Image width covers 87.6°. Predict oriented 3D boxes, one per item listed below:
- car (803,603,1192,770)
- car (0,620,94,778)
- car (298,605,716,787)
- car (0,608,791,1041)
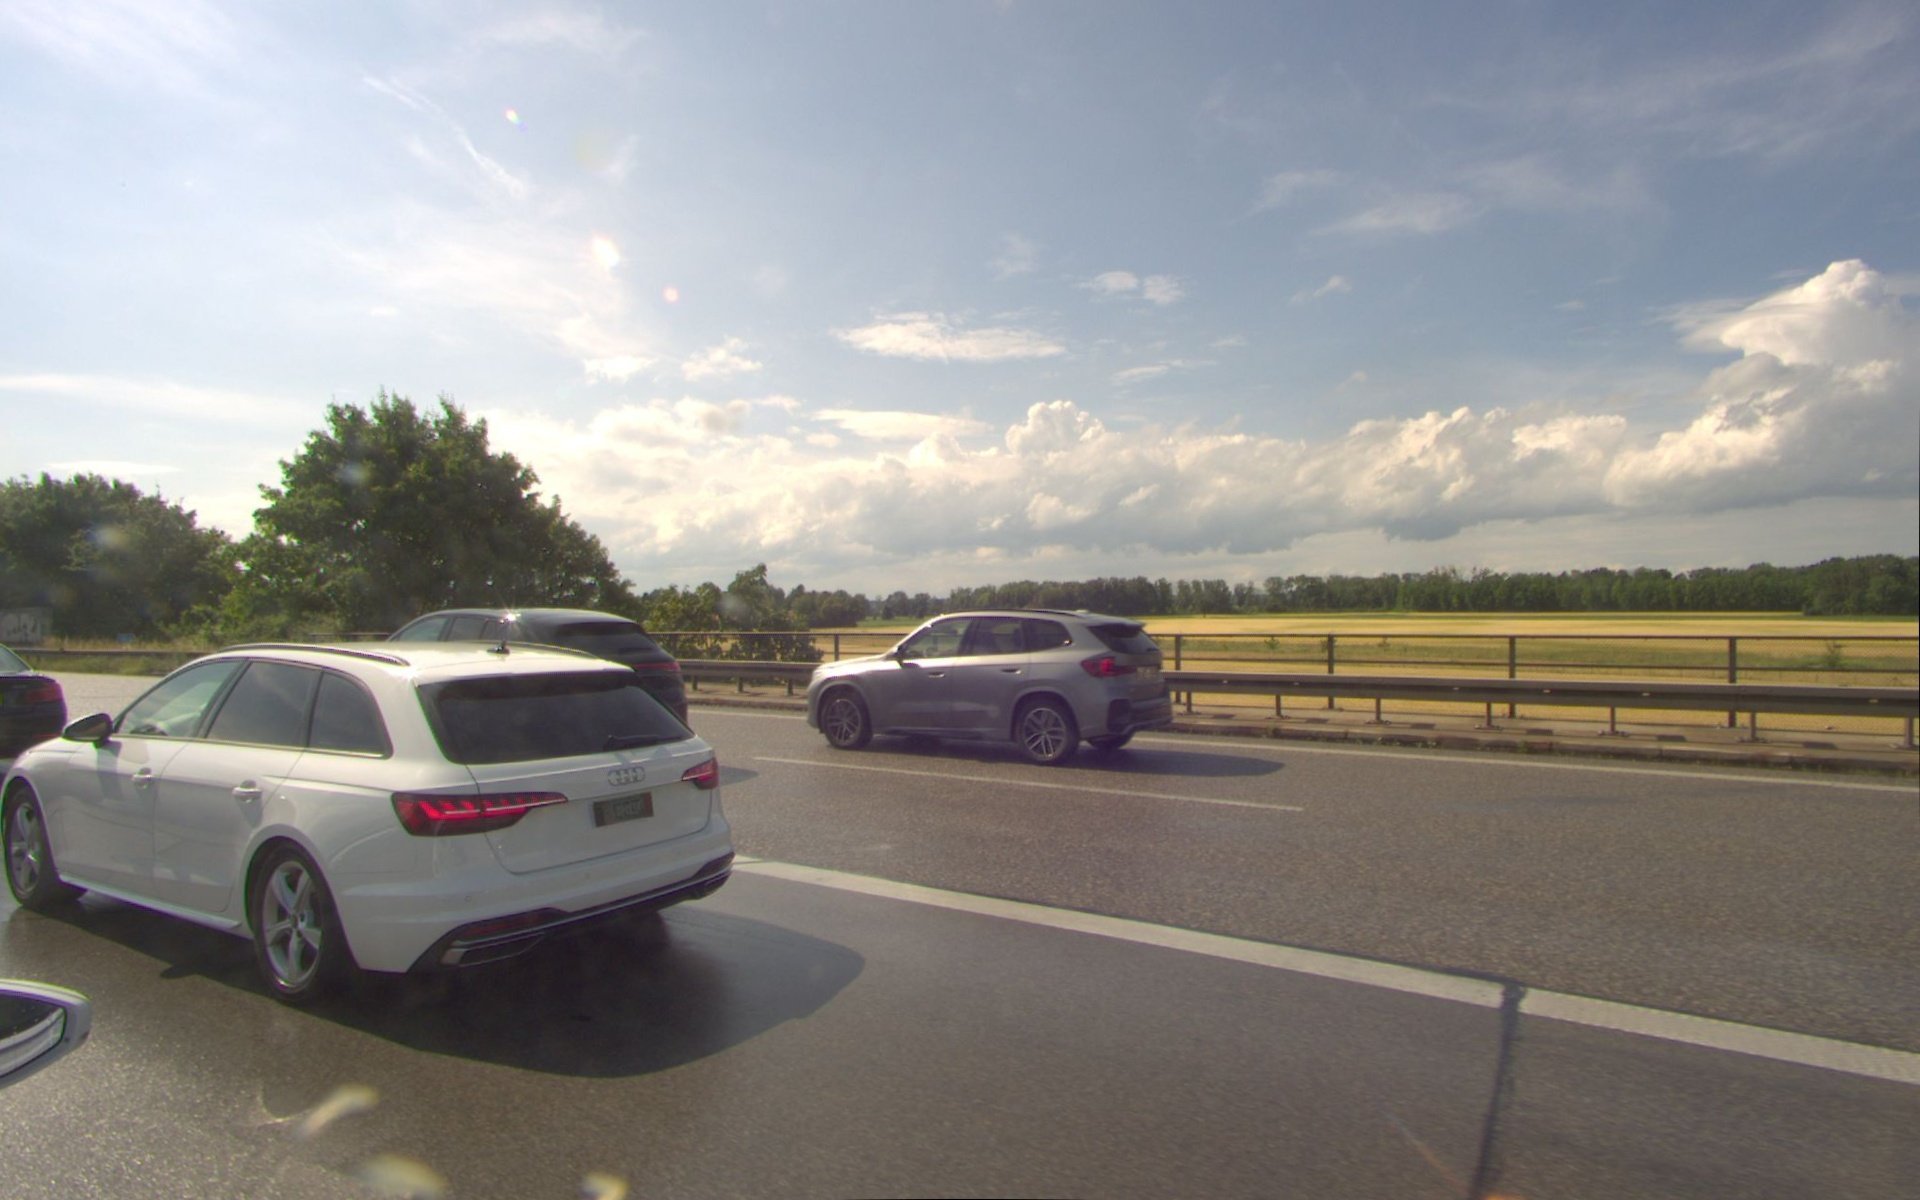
[{"bbox_3d":[0.345,0.898,11.560,4.227,1.606,1.745,-1,-2,34],"label":"car"},{"bbox_3d":[-10.986,0.982,10.403,4.194,1.483,1.845,-1,0,32],"label":"car"},{"bbox_3d":[-5.011,0.884,10.901,4.587,1.602,1.990,-1,-1,33],"label":"car"},{"bbox_3d":[-3.201,0.886,5.287,4.445,1.442,1.825,-2,-4,30],"label":"car"}]
